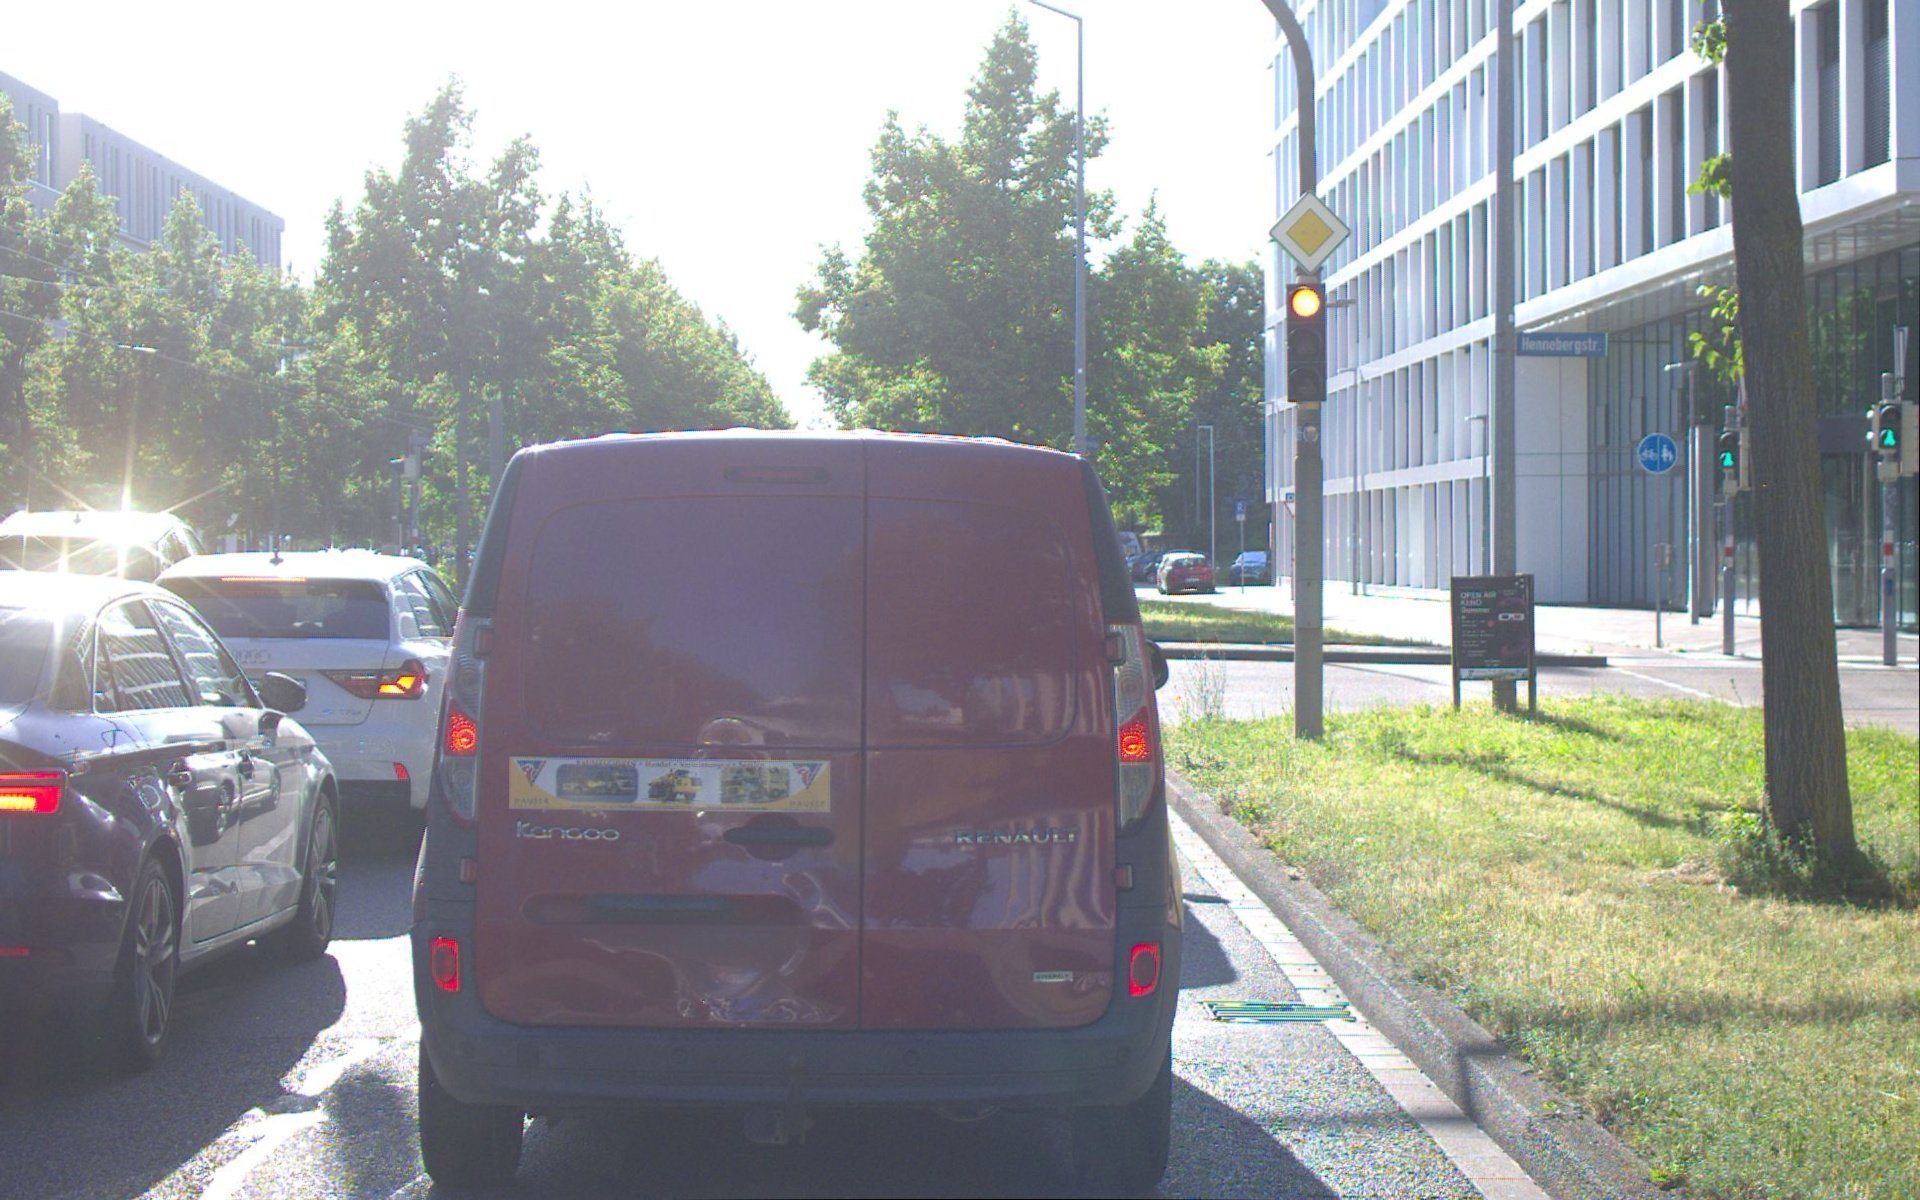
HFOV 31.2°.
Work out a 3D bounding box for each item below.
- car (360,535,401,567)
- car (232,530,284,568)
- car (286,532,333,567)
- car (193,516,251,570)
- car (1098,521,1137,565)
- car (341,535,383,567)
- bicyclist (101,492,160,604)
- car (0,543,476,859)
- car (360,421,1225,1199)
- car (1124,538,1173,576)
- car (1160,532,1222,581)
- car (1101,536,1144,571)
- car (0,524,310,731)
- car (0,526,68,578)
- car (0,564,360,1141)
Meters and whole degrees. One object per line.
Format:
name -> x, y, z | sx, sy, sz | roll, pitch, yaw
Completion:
car -> -37.543, -3.187, 222.868 | 1.993, 2.007, 4.000 | 0, 1, -1
car -> -37.225, -2.697, 182.412 | 1.993, 2.007, 4.000 | 0, 1, -1
car -> -37.675, -2.913, 199.226 | 1.993, 2.007, 4.000 | 0, 1, -1
car -> -36.134, -2.784, 168.353 | 1.993, 2.598, 4.000 | 0, 1, -1
car -> 9.074, -3.285, 198.324 | 1.993, 2.488, 4.987 | 0, 1, -1
car -> -37.754, -3.129, 217.244 | 1.993, 2.007, 4.000 | 0, 1, -1
bicyclist -> -15.500, -0.976, 64.252 | 0.939, 2.085, 0.818 | 0, 1, -4
car -> -3.629, 0.429, 17.586 | 1.803, 1.421, 3.901 | 0, 1, -1
car -> -0.384, 0.471, 9.340 | 1.842, 1.774, 4.000 | 0, 1, -1
car -> 8.784, -2.014, 160.617 | 1.993, 1.776, 4.000 | 0, 1, -1
car -> 8.575, -1.636, 128.019 | 1.993, 1.776, 4.000 | 0, 1, -1
car -> 8.487, -2.450, 179.815 | 1.993, 1.776, 4.000 | 0, 1, -1
car -> -6.328, 0.149, 26.452 | 1.799, 1.442, 4.569 | 0, 1, 0
car -> -36.900, -1.922, 136.499 | 1.993, 2.007, 4.000 | 0, 1, -1
car -> -3.175, 0.618, 10.888 | 1.842, 1.421, 4.339 | 0, 1, -1
